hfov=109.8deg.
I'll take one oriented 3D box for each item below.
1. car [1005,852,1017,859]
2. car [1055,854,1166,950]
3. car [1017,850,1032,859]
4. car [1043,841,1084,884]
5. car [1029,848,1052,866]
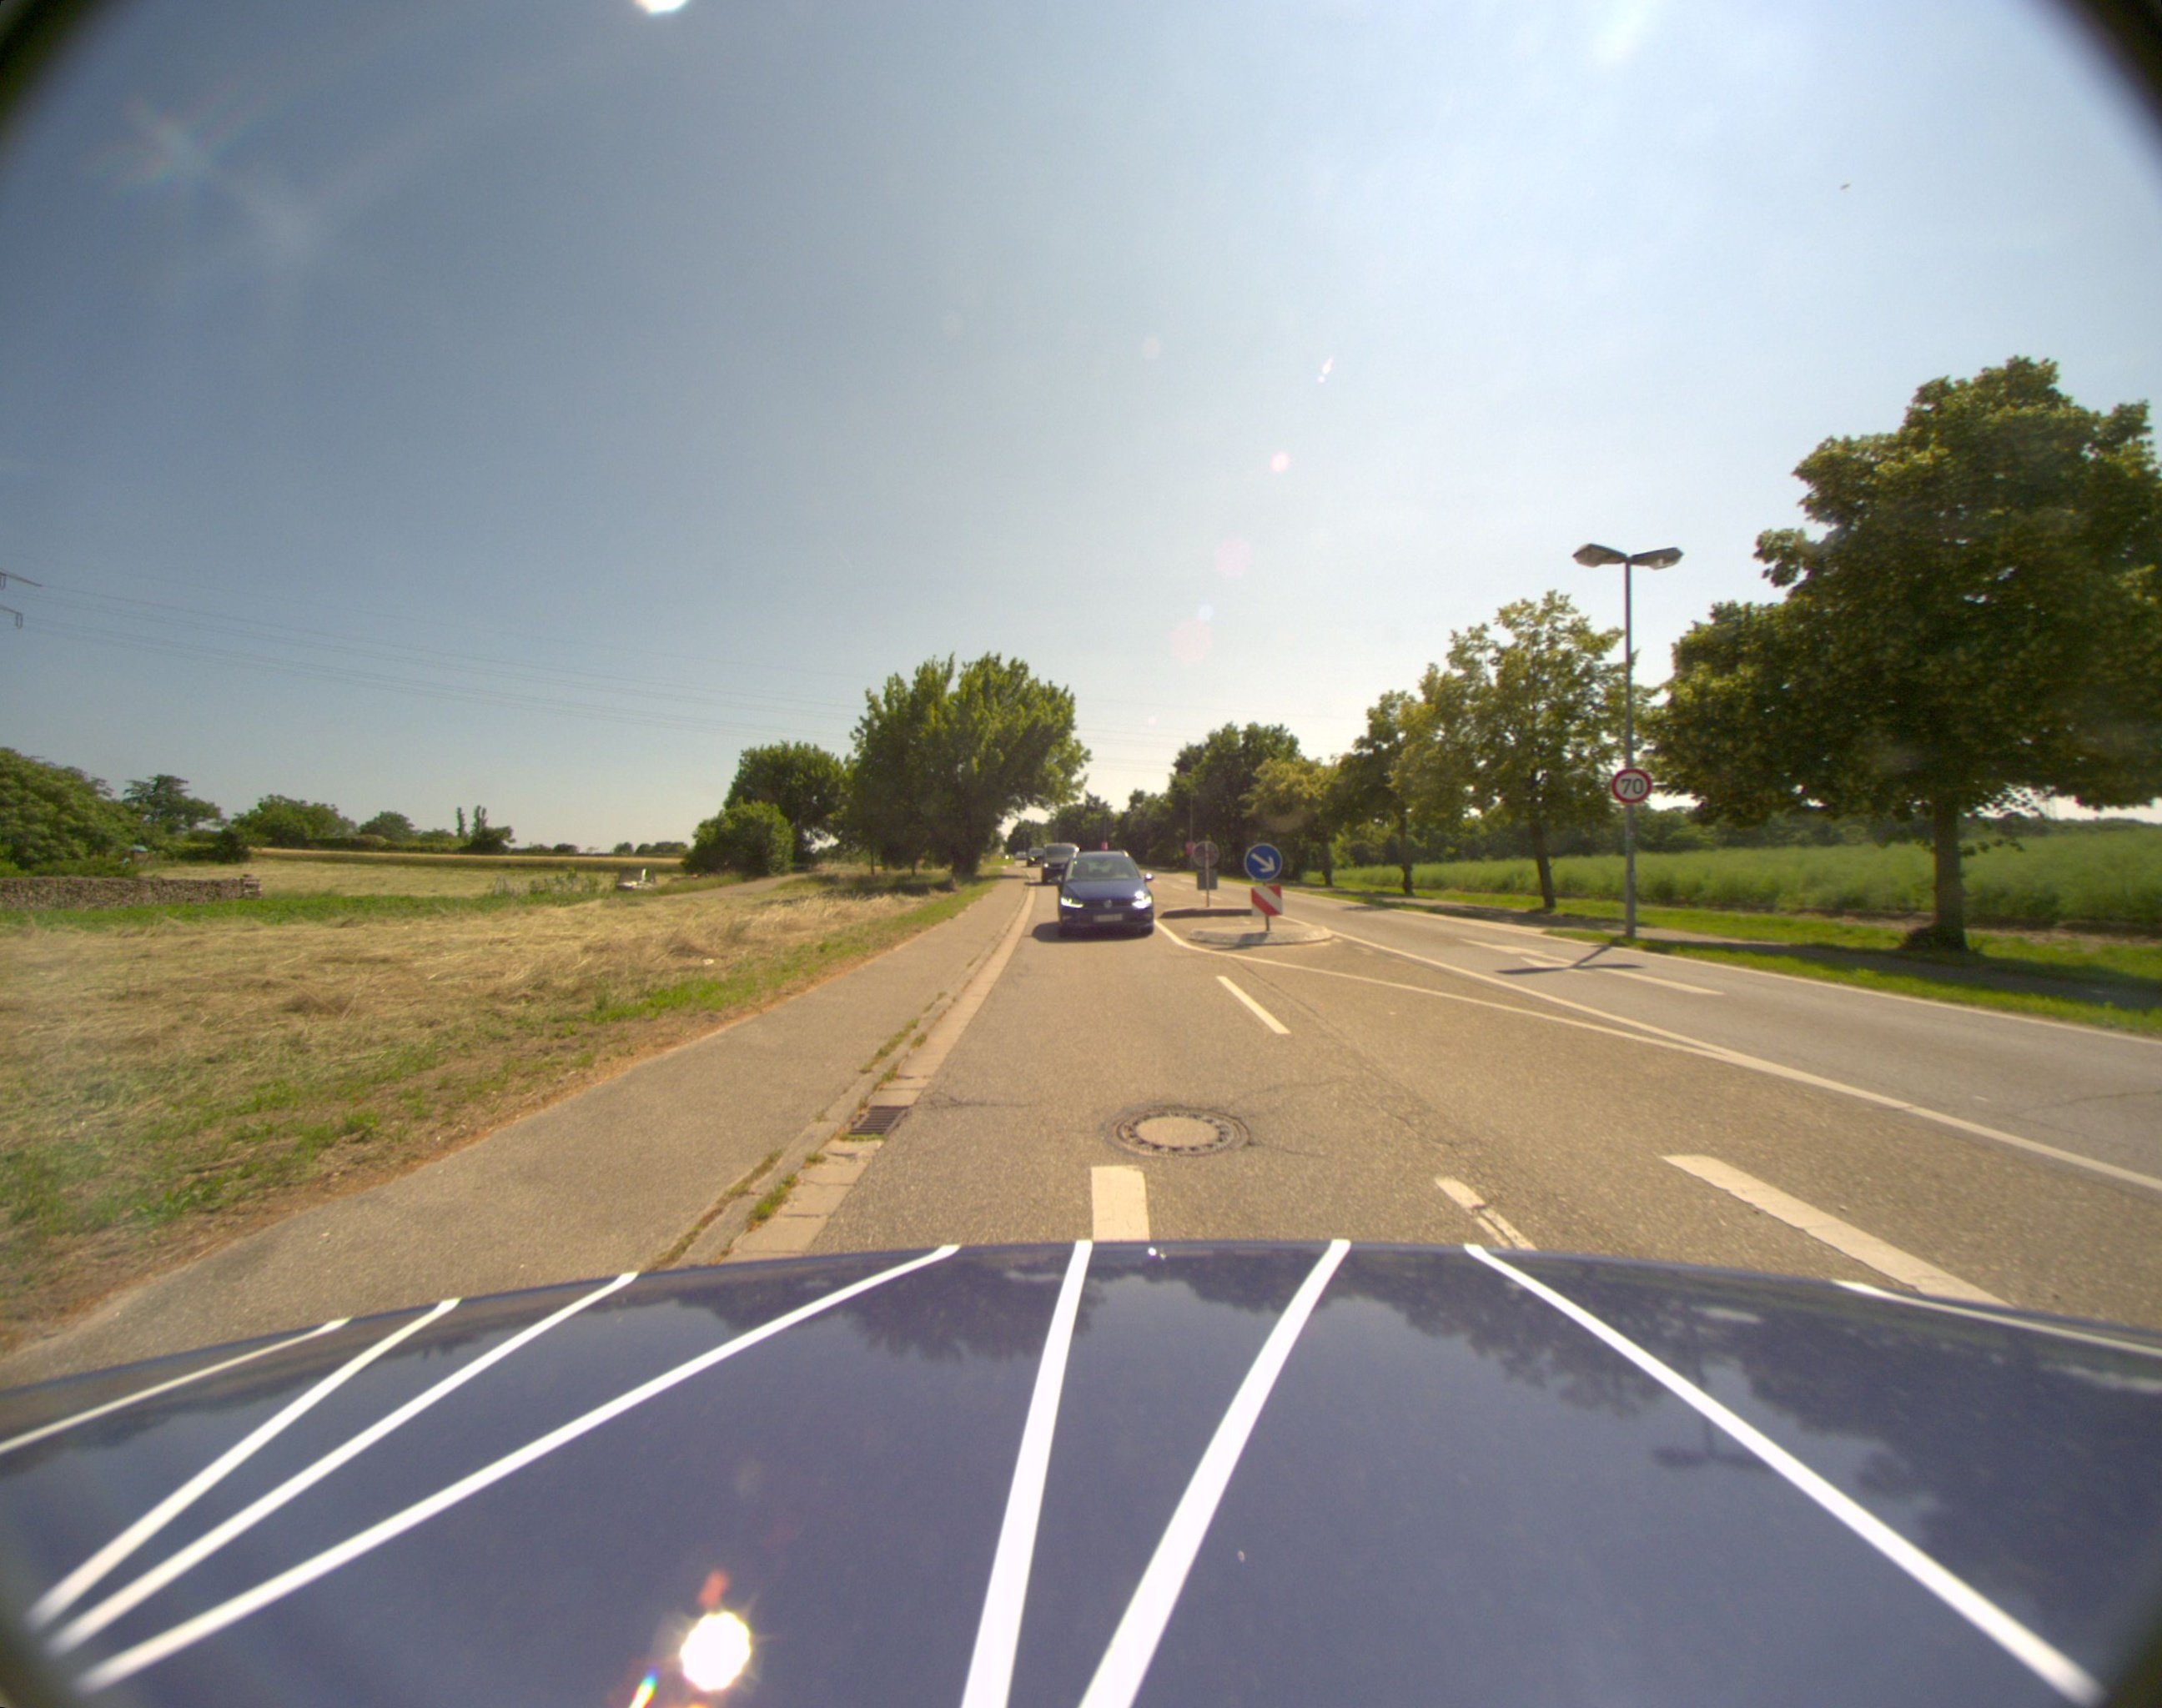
[{"bbox_3d":[-14.474,0.351,156.412,1.655,1.425,3.891,0,0,-18],"label":"car"},{"bbox_3d":[0.414,0.793,14.768,1.765,1.519,4.421,-2,0,-2],"label":"car"},{"bbox_3d":[-10.234,0.014,137.144,1.883,1.563,4.466,-1,1,-13],"label":"car"},{"bbox_3d":[-0.919,0.388,37.505,1.765,1.954,4.260,-2,1,-3],"label":"car"},{"bbox_3d":[-3.636,0.301,68.043,1.766,1.530,3.682,0,0,-8],"label":"car"}]
